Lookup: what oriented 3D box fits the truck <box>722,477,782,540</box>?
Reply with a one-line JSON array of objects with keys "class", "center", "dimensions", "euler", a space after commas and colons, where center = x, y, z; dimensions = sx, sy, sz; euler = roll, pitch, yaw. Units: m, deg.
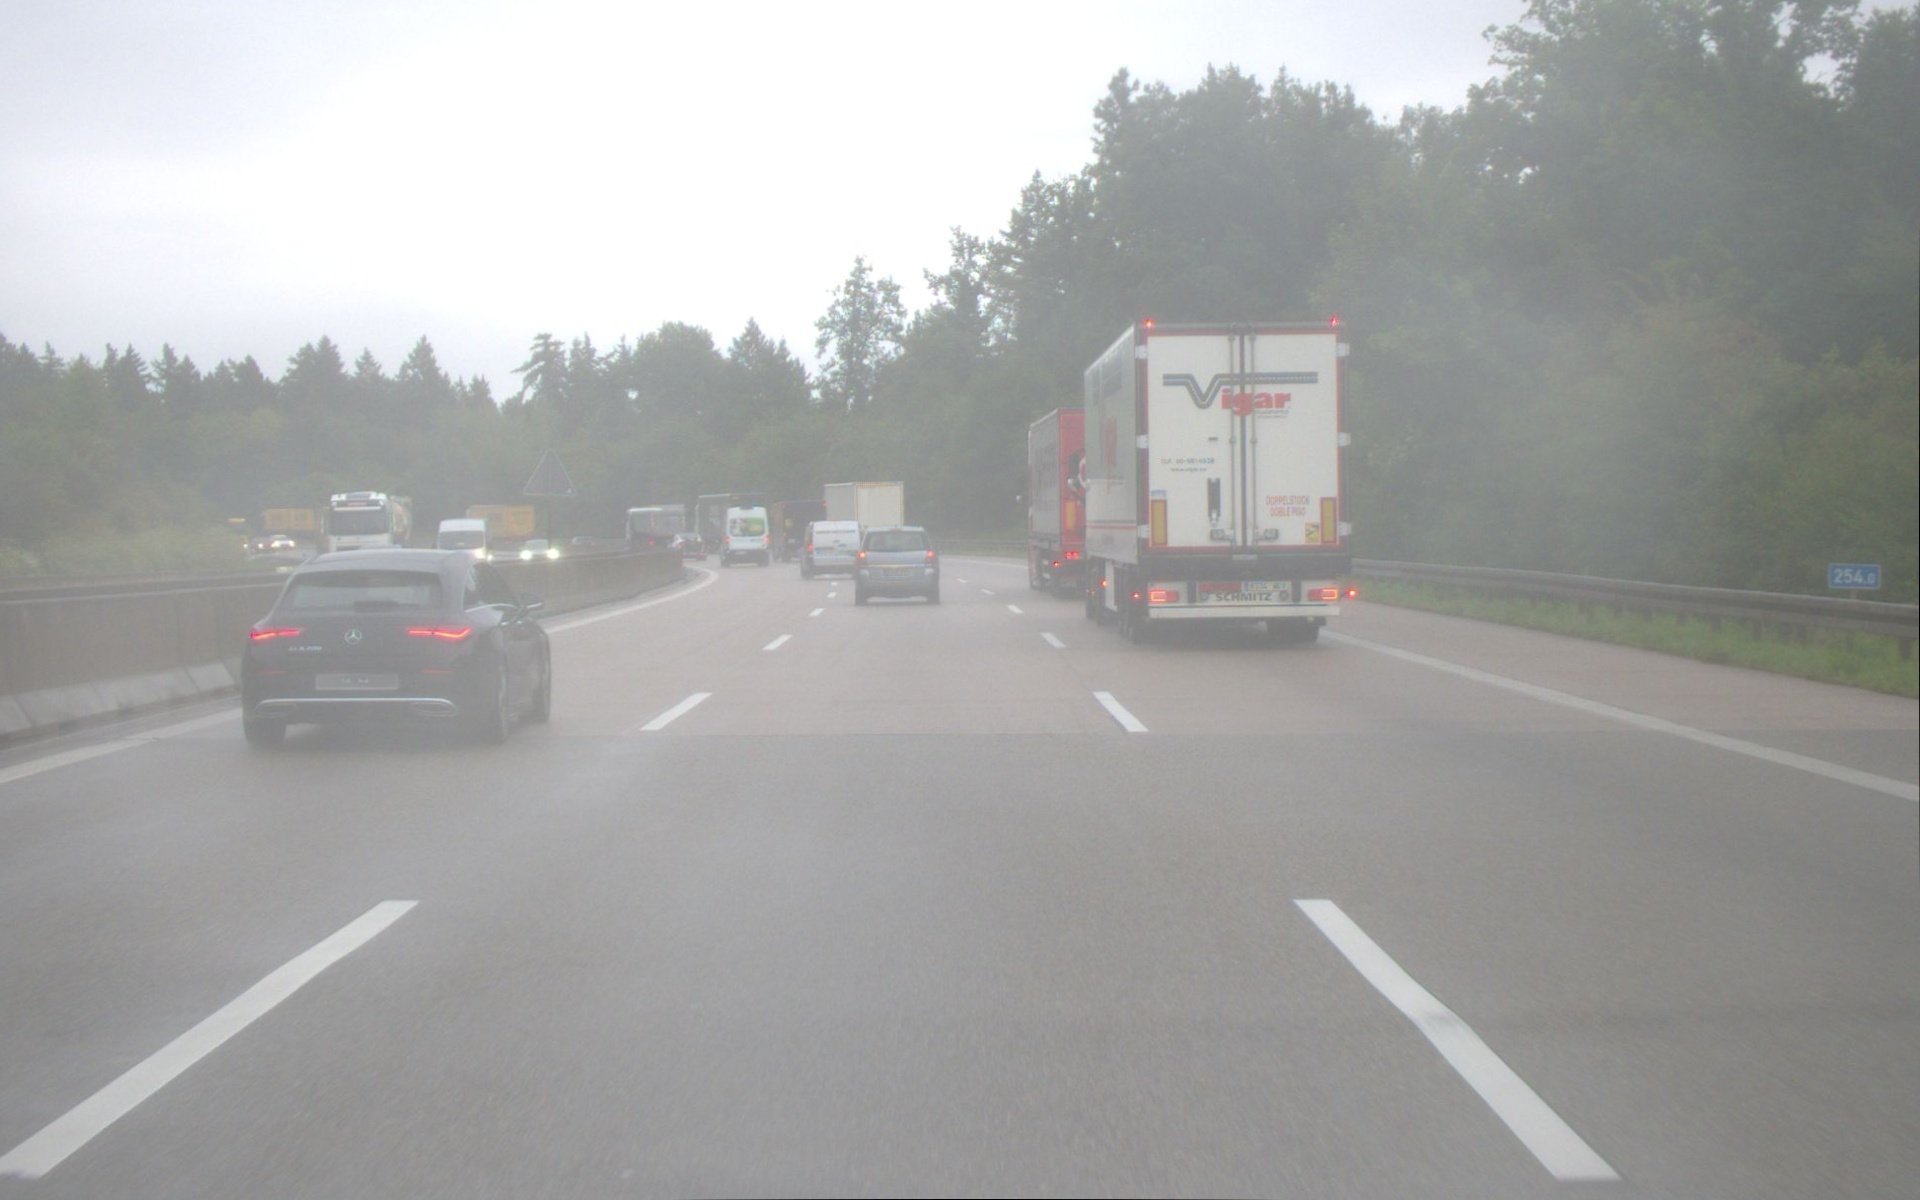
[{"class": "truck", "center": [-14.269, -6.257, 234.791], "dimensions": [3.368, 4.117, 10.440], "euler": [-2, 2, -7]}]

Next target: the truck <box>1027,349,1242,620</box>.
[{"class": "truck", "center": [2.745, -1.851, 55.979], "dimensions": [2.798, 4.089, 5.969], "euler": [-2, 1, -3]}]

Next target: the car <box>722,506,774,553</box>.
[{"class": "car", "center": [-9.815, -3.251, 158.621], "dimensions": [1.993, 2.052, 4.001], "euler": [-2, 2, -8]}]

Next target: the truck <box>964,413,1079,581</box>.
[{"class": "truck", "center": [1.446, -2.493, 83.981], "dimensions": [2.374, 3.940, 6.161], "euler": [0, 1, -3]}]

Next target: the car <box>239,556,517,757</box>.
[{"class": "car", "center": [-4.258, 0.371, 25.601], "dimensions": [1.553, 1.347, 3.684], "euler": [0, 1, -2]}]

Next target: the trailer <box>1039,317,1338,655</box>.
[{"class": "trailer", "center": [2.994, -1.584, 49.366], "dimensions": [2.734, 4.089, 13.684], "euler": [-2, 1, -2]}]

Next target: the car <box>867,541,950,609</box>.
[{"class": "car", "center": [-1.088, -0.534, 71.020], "dimensions": [1.553, 1.347, 3.684], "euler": [0, 1, -3]}]

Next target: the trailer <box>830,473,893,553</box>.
[{"class": "trailer", "center": [-5.342, -4.703, 183.787], "dimensions": [2.419, 4.054, 12.058], "euler": [-2, 2, -6]}]

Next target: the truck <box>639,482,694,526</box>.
[{"class": "truck", "center": [-20.410, -6.688, 238.758], "dimensions": [3.082, 2.895, 7.906], "euler": [-1, 3, -10]}]

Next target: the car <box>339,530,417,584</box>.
[{"class": "car", "center": [-17.576, -1.317, 104.033], "dimensions": [1.608, 1.548, 4.643], "euler": [-1, 1, -1]}]

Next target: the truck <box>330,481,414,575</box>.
[{"class": "truck", "center": [-24.112, -2.981, 141.375], "dimensions": [2.563, 3.654, 10.494], "euler": [-2, 1, -6]}]

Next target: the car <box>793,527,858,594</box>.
[{"class": "car", "center": [-4.320, -1.279, 109.678], "dimensions": [1.725, 2.006, 3.658], "euler": [-2, 2, -6]}]

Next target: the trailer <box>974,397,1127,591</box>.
[{"class": "trailer", "center": [1.865, -2.310, 76.128], "dimensions": [2.370, 3.940, 12.522], "euler": [0, 1, -3]}]
